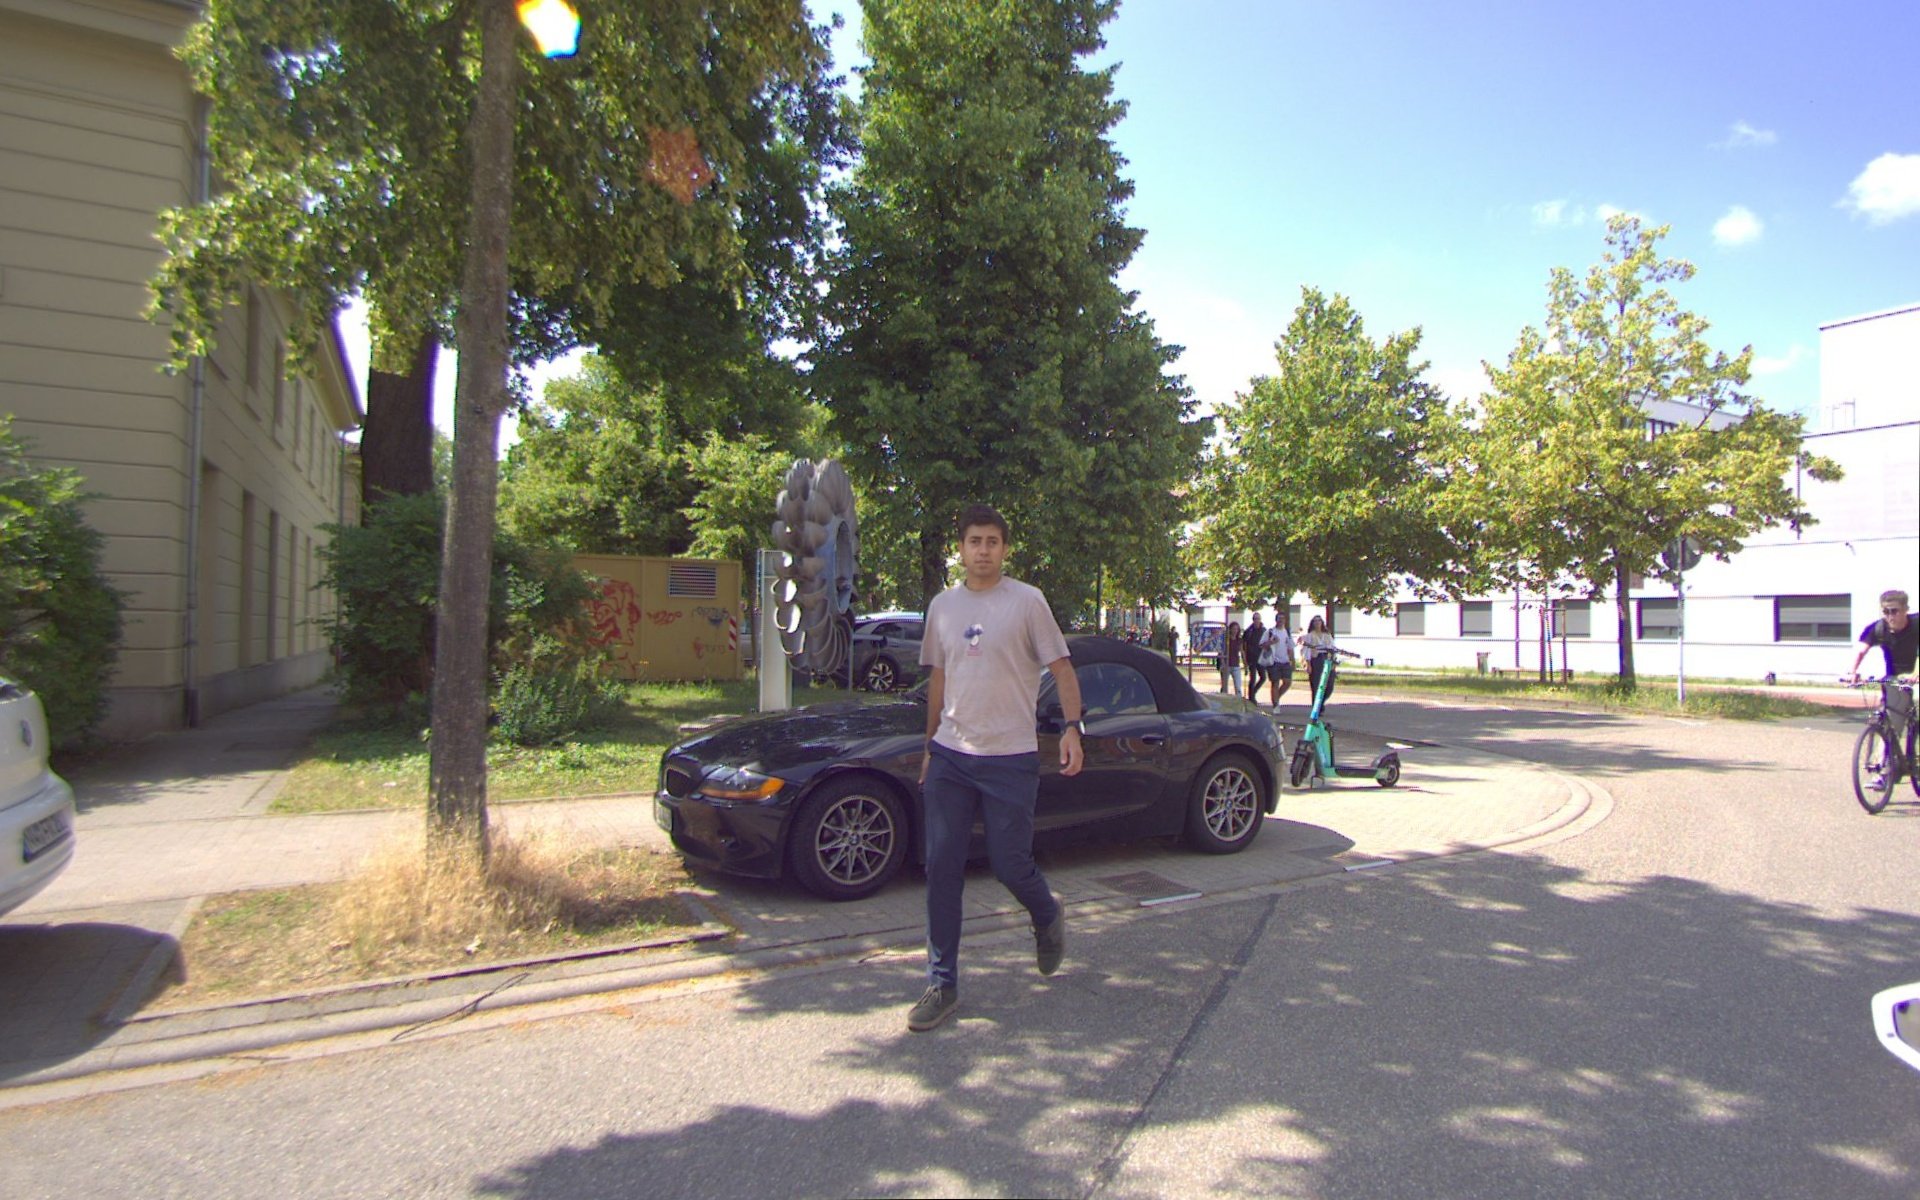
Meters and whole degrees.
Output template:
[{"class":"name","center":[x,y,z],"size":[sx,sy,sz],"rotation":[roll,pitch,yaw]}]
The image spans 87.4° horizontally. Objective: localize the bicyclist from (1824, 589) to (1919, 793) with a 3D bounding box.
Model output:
[{"class":"bicyclist","center":[7.899,0.745,8.481],"size":[0.898,1.622,0.640],"rotation":[2,-2,-31]}]

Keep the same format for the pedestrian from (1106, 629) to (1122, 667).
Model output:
[{"class":"pedestrian","center":[8.249,2.569,53.794],"size":[0.677,2.040,0.684],"rotation":[1,-1,18]}]

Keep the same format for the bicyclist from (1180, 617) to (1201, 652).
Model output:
[{"class":"bicyclist","center":[11.731,1.757,51.131],"size":[0.805,1.779,0.683],"rotation":[3,-1,-44]}]

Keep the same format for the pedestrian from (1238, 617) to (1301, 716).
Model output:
[{"class":"pedestrian","center":[5.569,1.184,18.127],"size":[0.837,1.731,0.854],"rotation":[-1,-1,0]}]

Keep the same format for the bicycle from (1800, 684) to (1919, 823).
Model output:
[{"class":"bicycle","center":[7.913,1.237,8.460],"size":[1.980,0.977,0.673],"rotation":[2,-1,-31]}]

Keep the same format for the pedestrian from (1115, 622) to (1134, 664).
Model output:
[{"class":"pedestrian","center":[8.091,2.128,49.479],"size":[0.603,2.040,0.656],"rotation":[2,-1,-29]}]

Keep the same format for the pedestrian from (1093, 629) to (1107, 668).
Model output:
[{"class":"pedestrian","center":[7.536,2.599,54.122],"size":[0.599,2.040,0.661],"rotation":[1,-1,18]}]

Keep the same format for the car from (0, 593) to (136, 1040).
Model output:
[{"class":"car","center":[-5.079,0.655,2.995],"size":[3.760,1.430,1.655],"rotation":[2,0,-29]}]

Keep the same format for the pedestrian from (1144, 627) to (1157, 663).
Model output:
[{"class":"pedestrian","center":[10.686,2.526,56.450],"size":[0.599,2.040,0.661],"rotation":[1,-1,18]}]

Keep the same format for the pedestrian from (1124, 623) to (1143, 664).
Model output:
[{"class":"pedestrian","center":[8.618,2.151,49.968],"size":[0.603,2.040,0.656],"rotation":[2,-1,-29]}]

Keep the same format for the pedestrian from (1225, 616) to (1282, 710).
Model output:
[{"class":"pedestrian","center":[5.725,1.217,19.636],"size":[0.837,1.774,0.854],"rotation":[-1,-1,1]}]

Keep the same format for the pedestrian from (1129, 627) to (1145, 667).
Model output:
[{"class":"pedestrian","center":[9.152,2.422,52.023],"size":[0.677,2.040,0.684],"rotation":[1,-1,18]}]

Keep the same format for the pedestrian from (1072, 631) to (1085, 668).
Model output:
[{"class":"pedestrian","center":[6.674,2.779,56.481],"size":[0.599,2.040,0.661],"rotation":[1,-1,18]}]

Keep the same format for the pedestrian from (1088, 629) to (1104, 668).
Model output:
[{"class":"pedestrian","center":[7.249,2.566,53.381],"size":[0.677,2.040,0.684],"rotation":[1,-1,18]}]

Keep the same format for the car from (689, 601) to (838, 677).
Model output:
[{"class":"car","center":[-6.362,1.283,32.632],"size":[4.387,2.320,1.920],"rotation":[1,-4,-29]}]

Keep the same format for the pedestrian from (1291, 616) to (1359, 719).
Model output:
[{"class":"pedestrian","center":[6.339,1.159,17.482],"size":[0.837,1.731,0.854],"rotation":[-1,-1,0]}]

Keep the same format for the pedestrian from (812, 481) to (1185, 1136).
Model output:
[{"class":"pedestrian","center":[0.212,0.618,3.697],"size":[0.998,1.928,1.178],"rotation":[1,-1,21]}]

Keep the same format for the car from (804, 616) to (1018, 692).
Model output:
[{"class":"car","center":[-1.080,1.193,22.441],"size":[4.387,1.536,1.920],"rotation":[1,-4,-29]}]

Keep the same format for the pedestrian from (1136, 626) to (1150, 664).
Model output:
[{"class":"pedestrian","center":[9.912,2.410,54.348],"size":[0.599,2.040,0.661],"rotation":[1,-1,18]}]

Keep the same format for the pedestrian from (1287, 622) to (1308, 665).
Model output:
[{"class":"pedestrian","center":[14.093,1.809,41.909],"size":[0.579,1.788,0.549],"rotation":[2,-1,-28]}]

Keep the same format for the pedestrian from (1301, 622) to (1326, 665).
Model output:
[{"class":"pedestrian","center":[14.830,1.817,42.151],"size":[0.628,1.772,0.690],"rotation":[2,-1,-28]}]

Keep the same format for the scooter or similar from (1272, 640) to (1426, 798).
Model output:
[{"class":"scooter or similar","center":[3.417,1.011,8.841],"size":[1.196,1.316,0.504],"rotation":[0,-2,-17]}]

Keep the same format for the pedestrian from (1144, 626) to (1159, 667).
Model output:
[{"class":"pedestrian","center":[9.893,2.392,51.853],"size":[0.677,2.040,0.684],"rotation":[1,-1,18]}]

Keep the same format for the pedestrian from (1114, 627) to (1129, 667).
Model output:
[{"class":"pedestrian","center":[8.402,2.458,52.254],"size":[0.677,2.040,0.684],"rotation":[1,-1,18]}]

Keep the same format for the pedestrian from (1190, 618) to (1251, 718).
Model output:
[{"class":"pedestrian","center":[4.637,1.194,17.934],"size":[0.837,1.731,0.854],"rotation":[-1,-1,1]}]

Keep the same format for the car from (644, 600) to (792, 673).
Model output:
[{"class":"car","center":[-8.553,1.312,35.466],"size":[4.676,2.424,2.233],"rotation":[1,-4,-29]}]

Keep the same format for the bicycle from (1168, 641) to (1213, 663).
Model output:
[{"class":"bicycle","center":[11.724,2.618,51.123],"size":[0.805,1.015,2.096],"rotation":[3,-1,-43]}]

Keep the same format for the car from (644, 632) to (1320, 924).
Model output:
[{"class":"car","center":[0.198,0.875,6.192],"size":[3.877,1.318,1.639],"rotation":[2,-2,-28]}]

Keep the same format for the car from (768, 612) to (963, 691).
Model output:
[{"class":"car","center":[-2.309,1.269,24.753],"size":[4.387,1.791,1.920],"rotation":[1,-4,-29]}]
